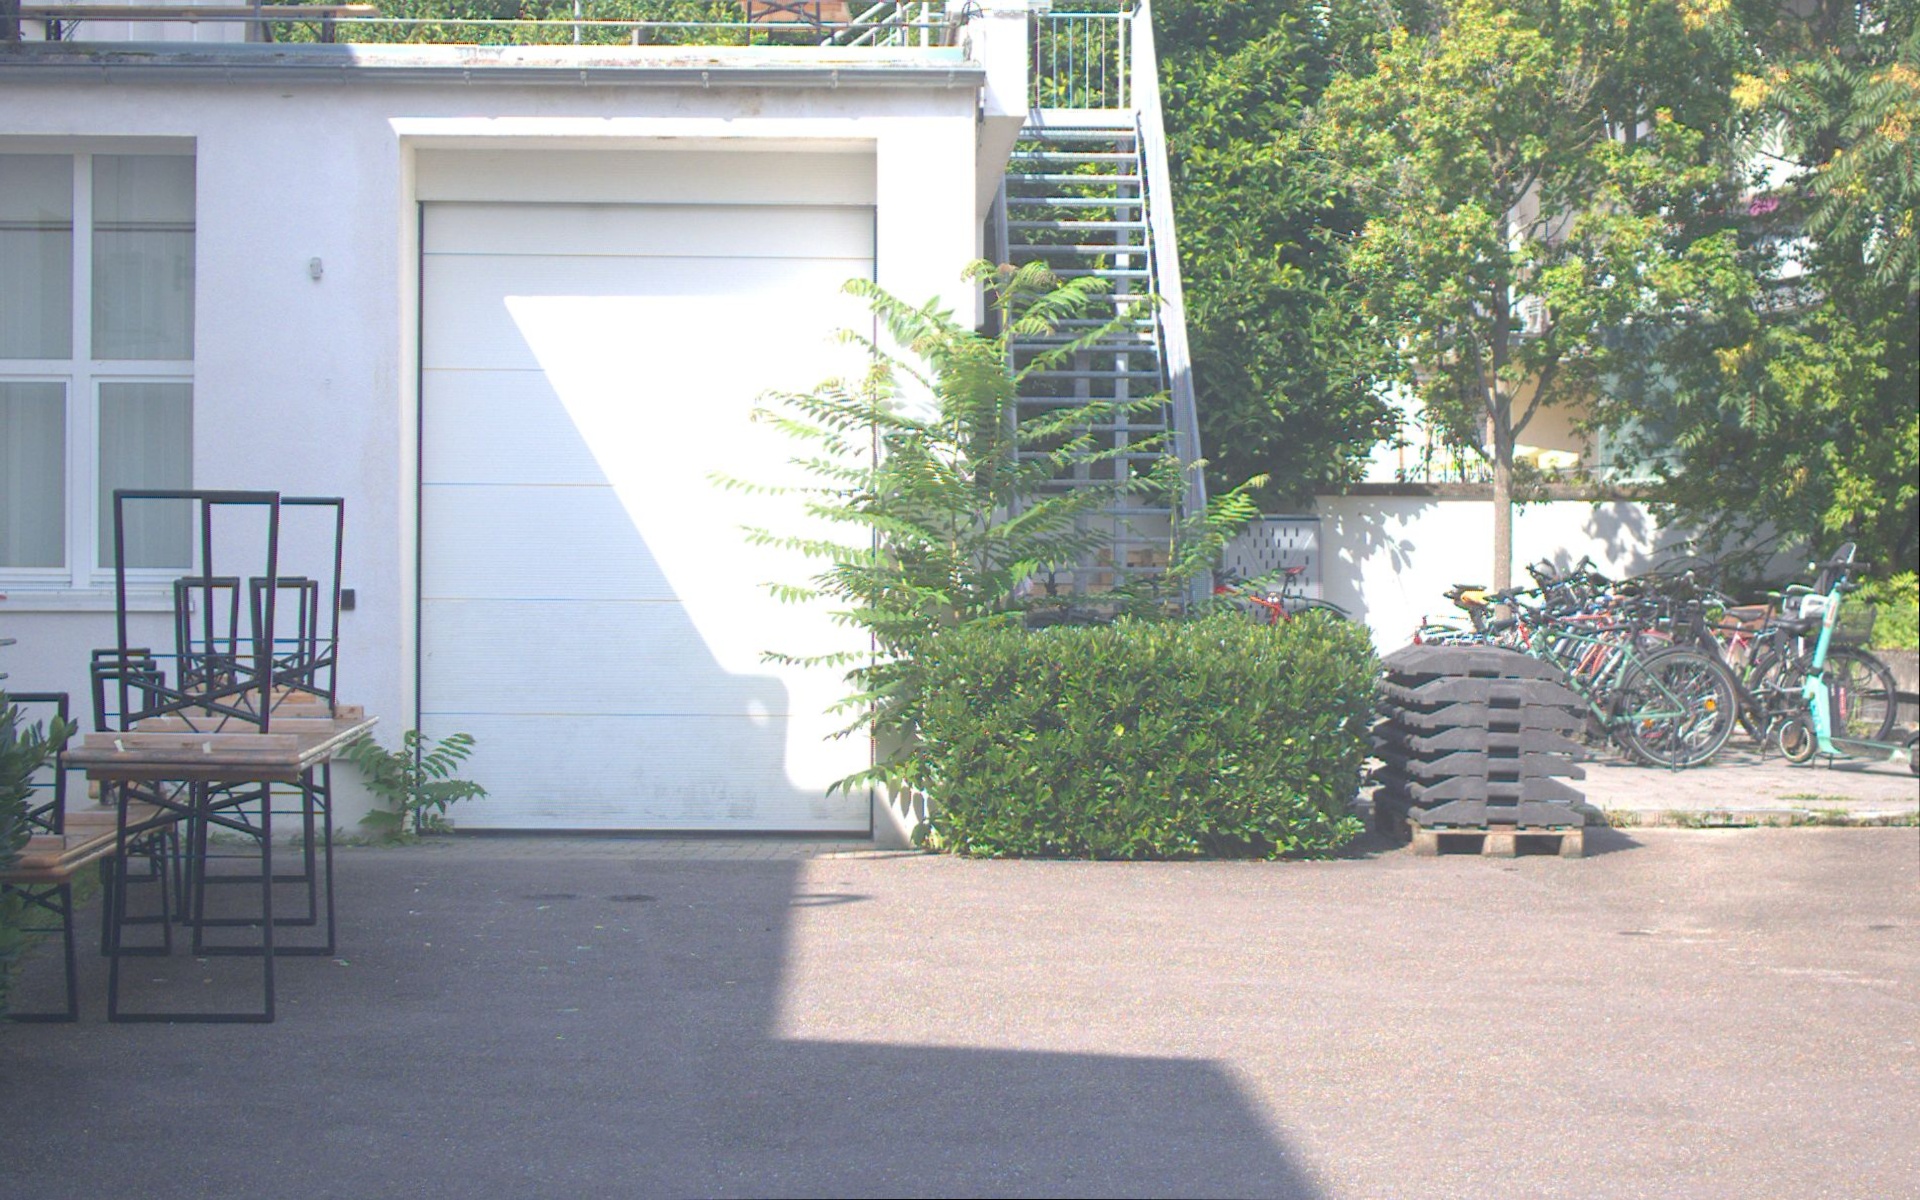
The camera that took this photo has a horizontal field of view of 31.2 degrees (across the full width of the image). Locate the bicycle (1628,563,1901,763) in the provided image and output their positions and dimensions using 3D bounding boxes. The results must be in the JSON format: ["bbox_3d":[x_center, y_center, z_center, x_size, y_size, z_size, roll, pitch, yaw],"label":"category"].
[{"bbox_3d":[4.954,0.380,21.192,1.624,1.210,0.327,0,1,14],"label":"bicycle"}]

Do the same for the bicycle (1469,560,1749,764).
[{"bbox_3d":[3.924,0.371,20.820,1.623,1.210,0.327,0,1,0],"label":"bicycle"}]

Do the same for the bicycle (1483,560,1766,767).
[{"bbox_3d":[3.962,0.376,20.527,1.623,1.210,0.327,0,1,0],"label":"bicycle"}]

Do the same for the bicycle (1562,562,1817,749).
[{"bbox_3d":[4.792,0.361,22.626,1.624,1.210,0.424,0,1,11],"label":"bicycle"}]

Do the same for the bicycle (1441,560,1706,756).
[{"bbox_3d":[3.859,0.360,21.634,1.624,1.210,0.327,0,1,12],"label":"bicycle"}]

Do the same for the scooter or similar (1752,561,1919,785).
[{"bbox_3d":[5.243,0.405,19.986,0.378,1.256,1.349,-1,1,-33],"label":"scooter or similar"}]

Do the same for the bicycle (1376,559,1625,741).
[{"bbox_3d":[3.696,0.335,23.545,1.623,1.210,0.424,-1,1,-6],"label":"bicycle"}]

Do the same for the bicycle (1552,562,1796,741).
[{"bbox_3d":[4.906,0.349,23.654,1.624,1.210,0.424,0,1,11],"label":"bicycle"}]

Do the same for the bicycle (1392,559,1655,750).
[{"bbox_3d":[3.651,0.350,22.307,1.623,1.210,0.424,0,1,-2],"label":"bicycle"}]

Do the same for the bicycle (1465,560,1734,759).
[{"bbox_3d":[3.947,0.366,21.271,1.623,1.210,0.327,0,1,9],"label":"bicycle"}]

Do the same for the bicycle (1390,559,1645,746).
[{"bbox_3d":[3.718,0.343,22.943,1.623,1.210,0.424,-1,1,-7],"label":"bicycle"}]

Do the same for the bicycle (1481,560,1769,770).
[{"bbox_3d":[3.904,0.379,20.204,1.623,1.210,0.327,0,1,0],"label":"bicycle"}]

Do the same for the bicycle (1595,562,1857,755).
[{"bbox_3d":[4.903,0.369,22.053,1.624,1.210,0.424,0,1,12],"label":"bicycle"}]
